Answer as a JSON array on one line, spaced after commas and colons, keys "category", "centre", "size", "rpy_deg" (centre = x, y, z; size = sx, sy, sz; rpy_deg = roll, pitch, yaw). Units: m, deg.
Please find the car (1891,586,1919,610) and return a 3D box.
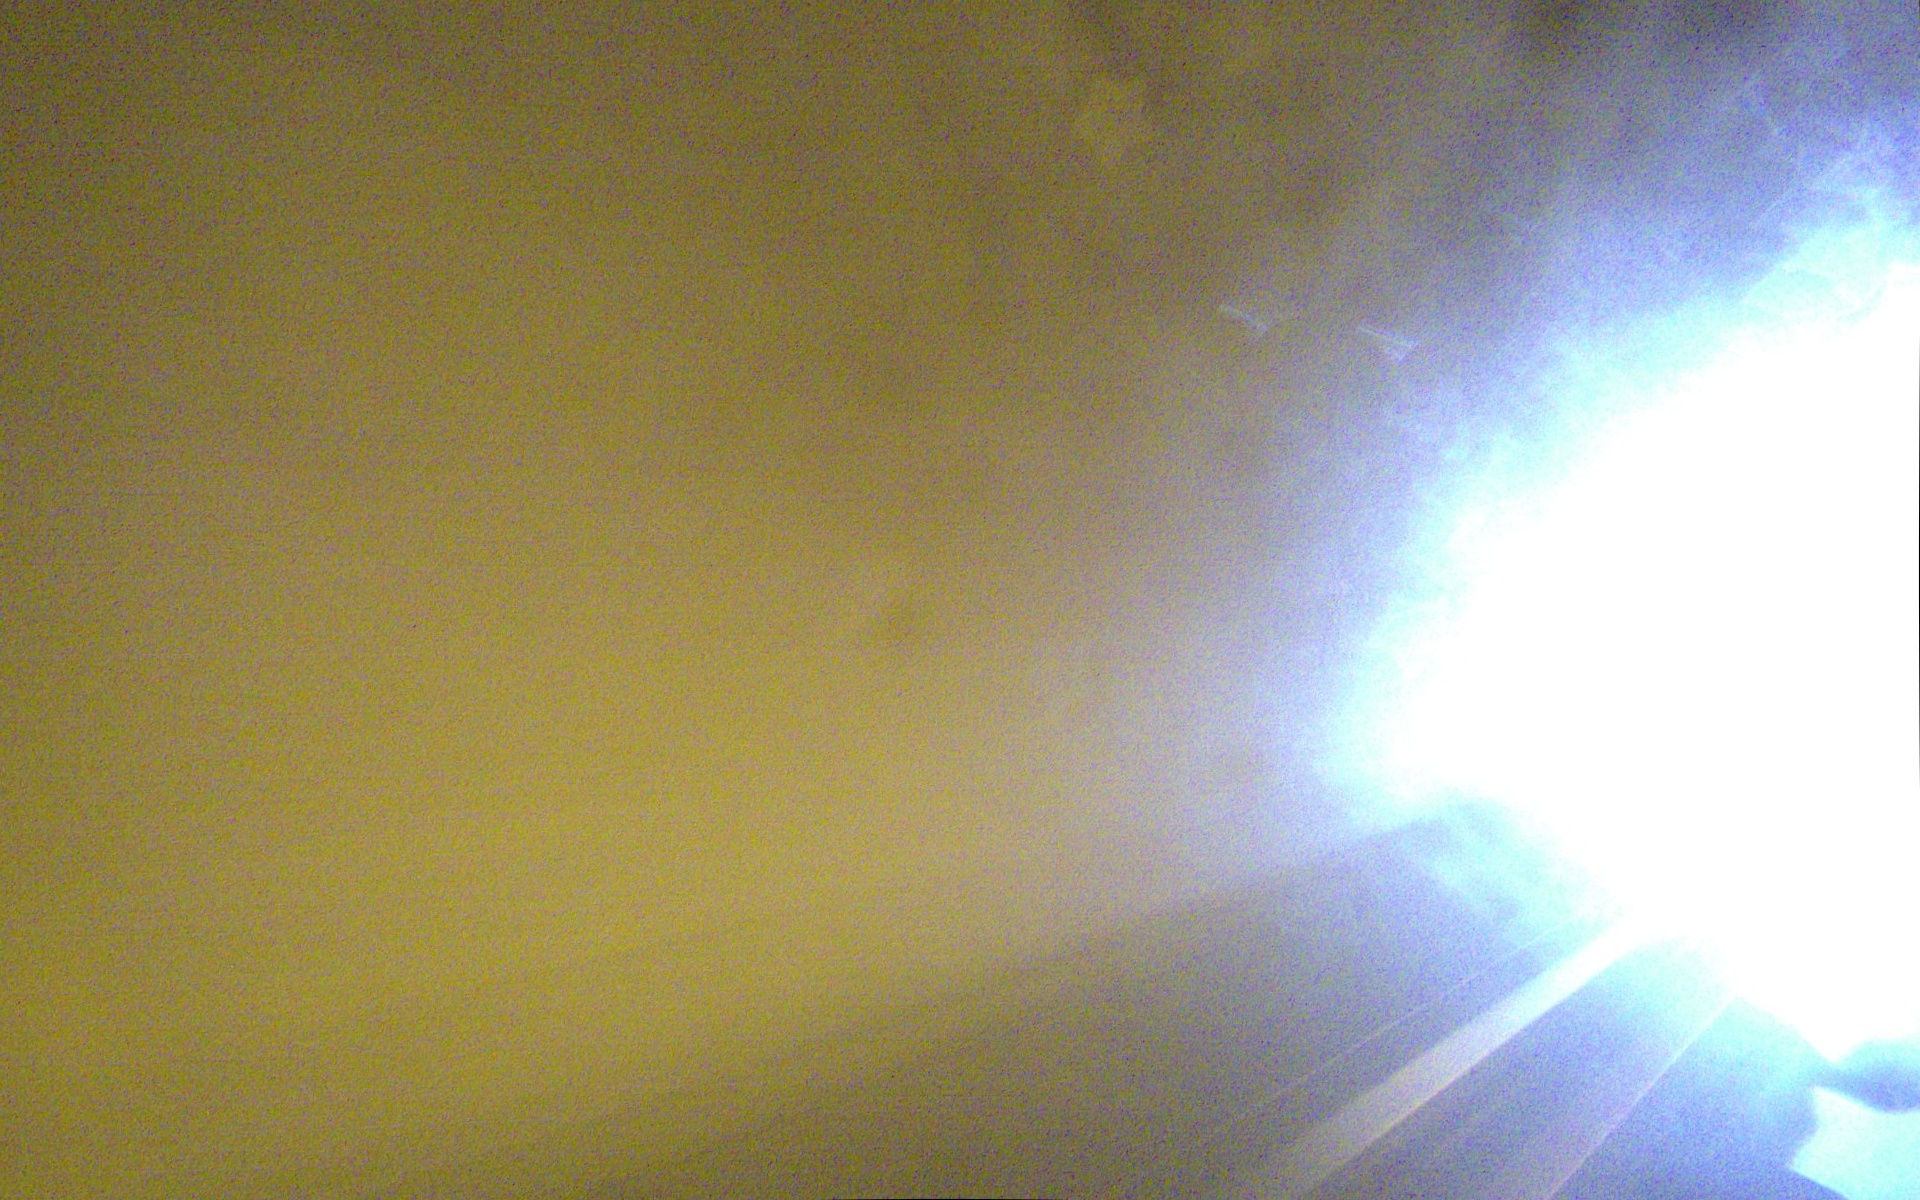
[{"category": "car", "centre": [73.323, -0.164, 77.935], "size": [1.696, 1.794, 3.955], "rpy_deg": [0, 1, 32]}]
